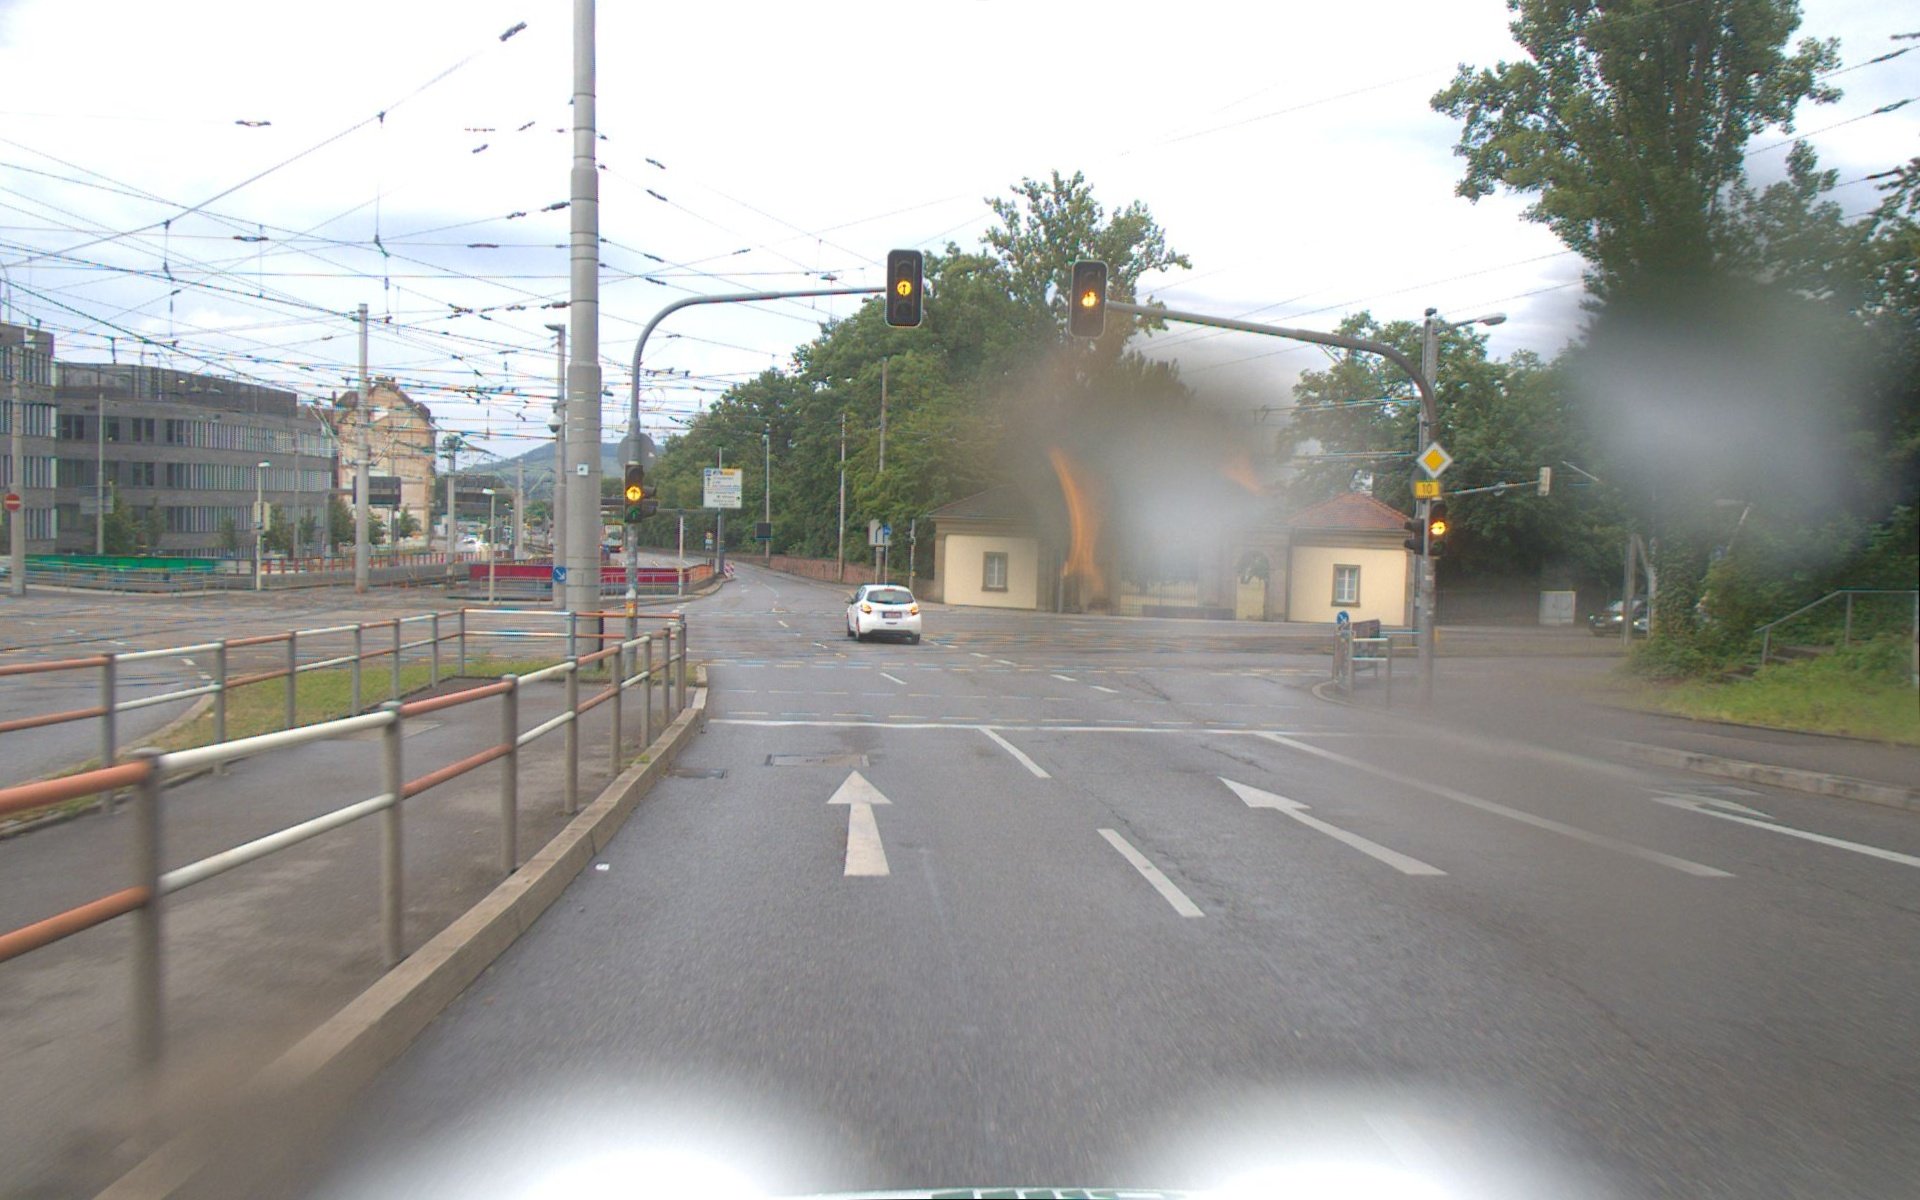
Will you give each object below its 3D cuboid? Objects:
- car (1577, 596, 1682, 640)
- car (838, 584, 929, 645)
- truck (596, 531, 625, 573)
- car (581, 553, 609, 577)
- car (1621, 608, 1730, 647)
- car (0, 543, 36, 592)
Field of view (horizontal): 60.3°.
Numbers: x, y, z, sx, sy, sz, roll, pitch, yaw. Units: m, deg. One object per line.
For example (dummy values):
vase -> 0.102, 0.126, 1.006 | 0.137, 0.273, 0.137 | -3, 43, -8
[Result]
car -> 28.445, 0.771, 70.261 | 4.200, 1.765, 1.981 | 2, -2, -29
car -> -2.108, 0.412, 44.303 | 1.920, 1.514, 3.990 | 1, -1, -10
truck -> -50.516, -6.871, 238.907 | 3.407, 5.496, 12.002 | 1, -1, -15
car -> -30.029, -2.899, 136.032 | 1.962, 1.905, 3.982 | -1, 1, -16
car -> 29.311, 1.138, 67.718 | 4.200, 1.481, 1.981 | 2, -2, -29
car -> -46.900, -1.562, 80.441 | 1.956, 2.191, 4.239 | 0, -2, -8
